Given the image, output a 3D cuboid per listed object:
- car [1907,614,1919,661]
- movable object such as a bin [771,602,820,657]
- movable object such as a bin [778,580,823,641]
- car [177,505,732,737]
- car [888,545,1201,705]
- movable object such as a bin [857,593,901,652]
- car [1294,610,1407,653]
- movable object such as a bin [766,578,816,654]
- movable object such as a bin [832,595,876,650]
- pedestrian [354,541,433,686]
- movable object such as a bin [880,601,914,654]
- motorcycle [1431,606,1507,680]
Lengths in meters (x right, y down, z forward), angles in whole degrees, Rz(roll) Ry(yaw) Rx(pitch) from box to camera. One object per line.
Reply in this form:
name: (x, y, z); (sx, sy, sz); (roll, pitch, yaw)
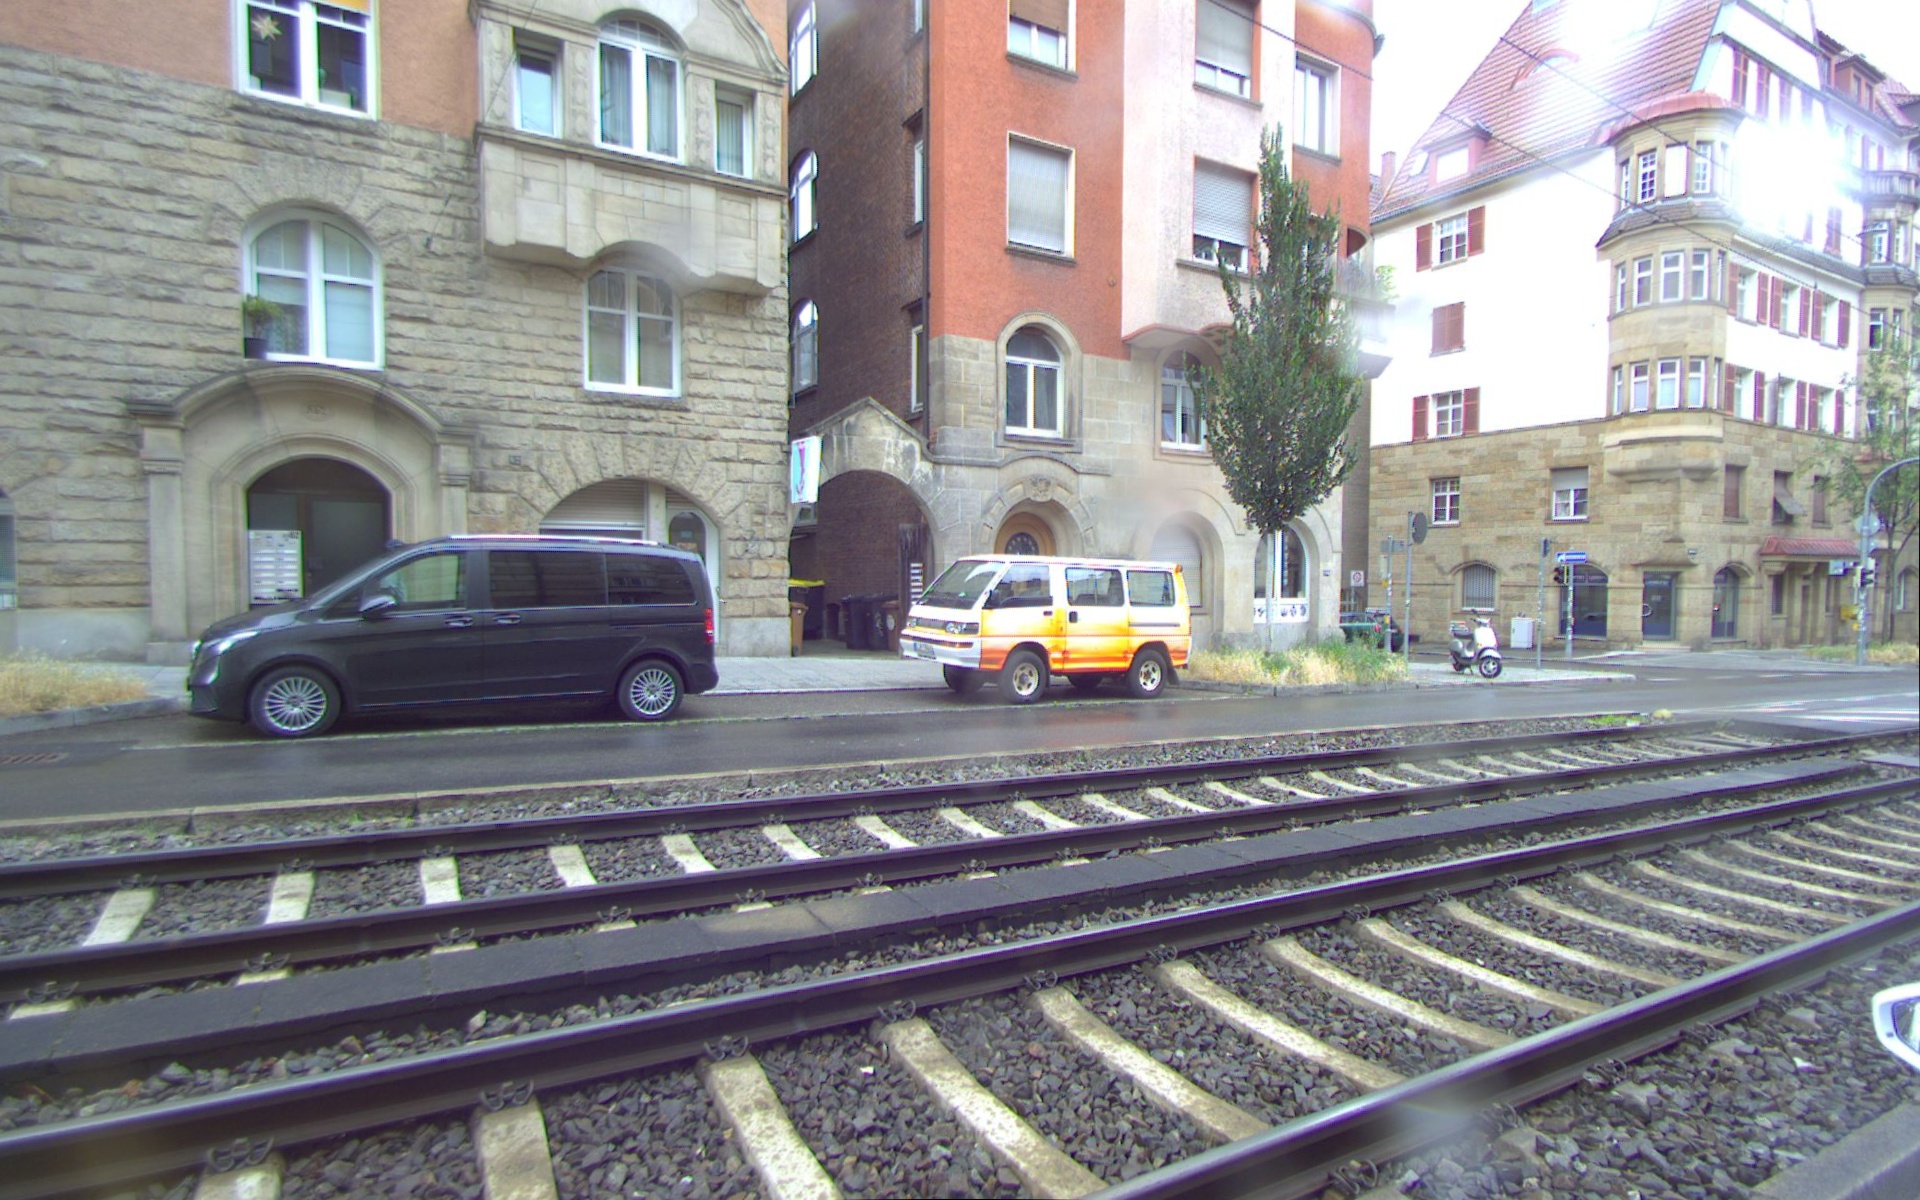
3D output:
car: (34.169, 1.331, 34.351); (3.994, 1.573, 1.741); (2, 0, -34)
movable object such as a bin: (-2.892, 0.511, 17.592); (0.627, 0.918, 0.793); (1, 1, -27)
movable object such as a bin: (-3.610, 0.223, 22.658); (0.676, 1.324, 1.154); (1, 1, -26)
car: (-5.052, 0.241, 10.596); (4.769, 1.968, 1.984); (2, 0, -30)
car: (1.275, 0.368, 14.440); (4.295, 2.001, 1.721); (2, 0, -32)
movable object such as a bin: (-1.546, 0.428, 19.141); (0.607, 1.090, 0.679); (1, -1, -27)
car: (14.463, 1.143, 37.343); (1.683, 1.423, 3.618); (2, 0, -34)
movable object such as a bin: (-3.106, 0.289, 18.465); (0.648, 1.360, 0.903); (1, 1, -27)
movable object such as a bin: (-2.083, 0.433, 19.687); (0.607, 1.053, 0.793); (1, -1, -27)
pedestrian: (-6.731, 0.162, 11.947); (0.756, 1.664, 0.696); (2, 0, -30)
movable object such as a bin: (-1.173, 0.504, 18.633); (0.442, 0.957, 0.557); (1, -1, -27)
motorcycle: (10.106, 0.824, 20.001); (0.612, 1.384, 1.596); (2, 0, -3)
